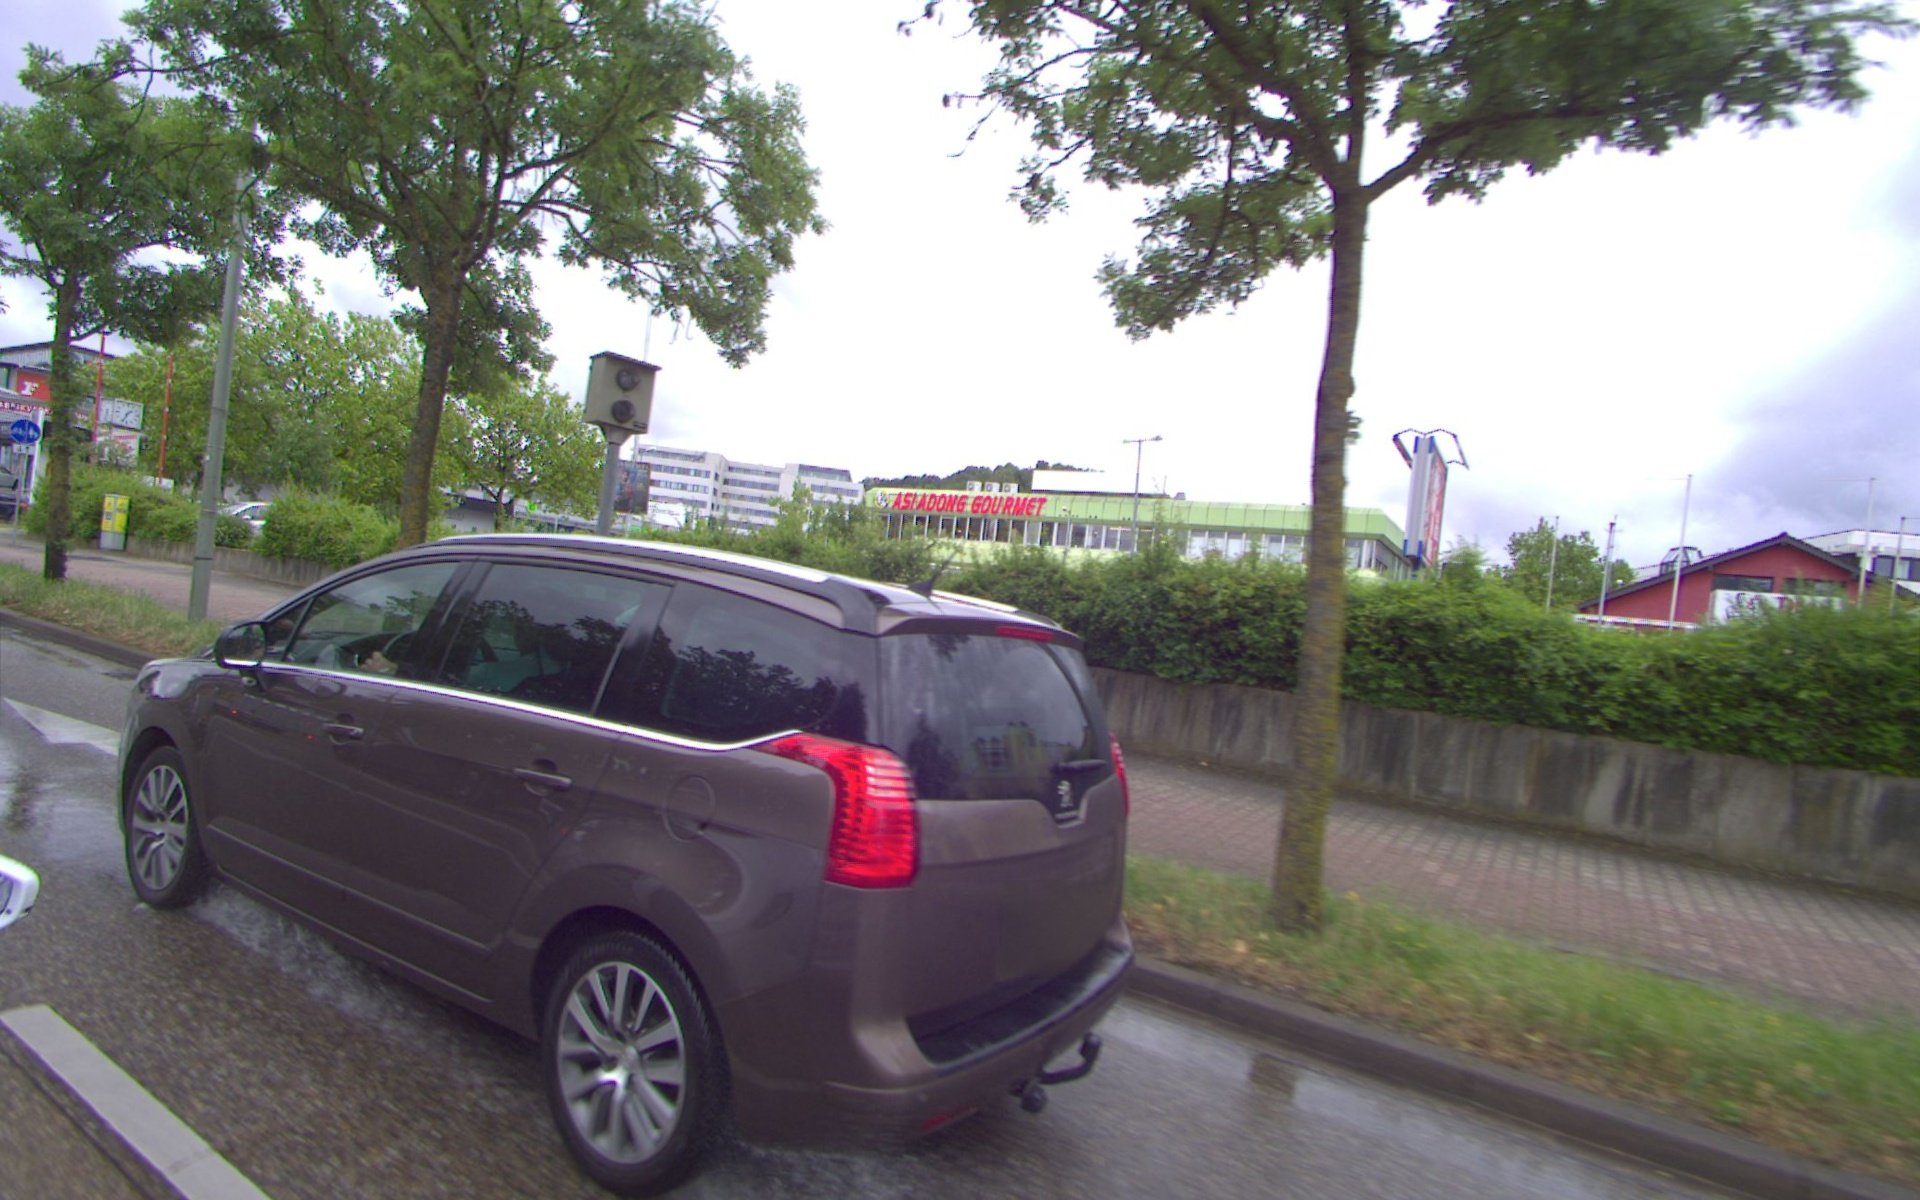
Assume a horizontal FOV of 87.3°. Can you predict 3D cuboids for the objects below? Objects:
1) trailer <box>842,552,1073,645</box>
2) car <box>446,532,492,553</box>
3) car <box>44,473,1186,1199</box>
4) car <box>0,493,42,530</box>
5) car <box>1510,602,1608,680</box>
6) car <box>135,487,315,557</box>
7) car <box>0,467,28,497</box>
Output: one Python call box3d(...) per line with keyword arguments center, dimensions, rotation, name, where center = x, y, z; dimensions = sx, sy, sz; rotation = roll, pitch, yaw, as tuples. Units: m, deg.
box3d(center=(-0.448, -0.221, 62.445), dimensions=(14.567, 3.759, 3.158), rotation=(8, -1, 32), name="trailer")
box3d(center=(-42.678, -5.008, 87.524), dimensions=(3.191, 1.286, 1.538), rotation=(7, 0, -9), name="car")
box3d(center=(-1.600, 0.540, 3.950), dimensions=(4.397, 1.644, 1.728), rotation=(7, 0, 32), name="car")
box3d(center=(-44.487, -4.178, 45.478), dimensions=(1.787, 1.507, 3.983), rotation=(6, 0, 31), name="car")
box3d(center=(16.398, 1.181, 27.687), dimensions=(1.966, 1.760, 4.378), rotation=(7, 0, 30), name="car")
box3d(center=(-22.009, -2.308, 30.263), dimensions=(1.628, 1.459, 3.990), rotation=(7, 0, 33), name="car")
box3d(center=(-63.473, -7.895, 65.713), dimensions=(1.709, 1.793, 4.145), rotation=(7, 0, -11), name="car")
